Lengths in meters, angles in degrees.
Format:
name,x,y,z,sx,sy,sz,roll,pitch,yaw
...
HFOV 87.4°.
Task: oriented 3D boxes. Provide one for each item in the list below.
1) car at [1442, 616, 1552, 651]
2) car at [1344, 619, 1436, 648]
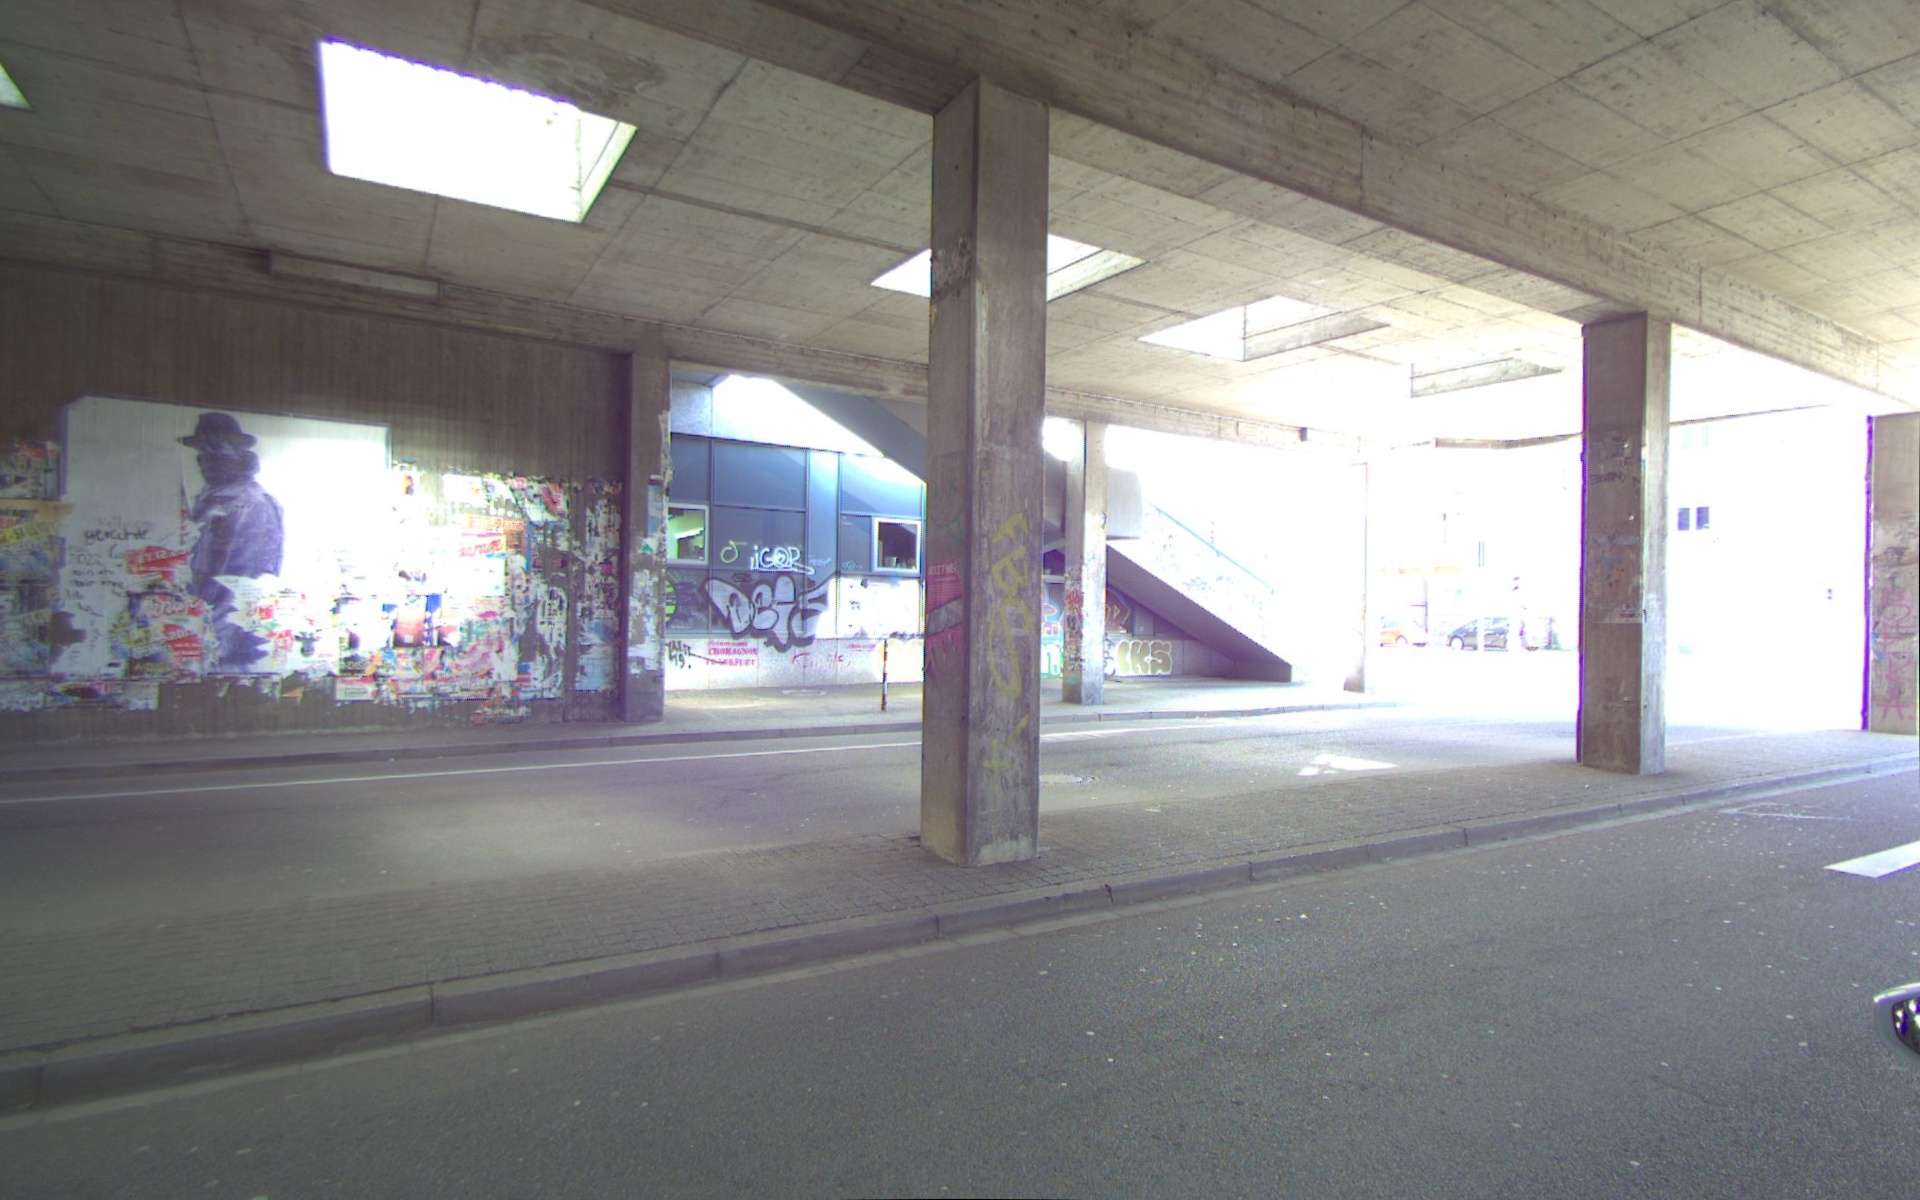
name,x,y,z,sx,sy,sz,roll,pitch,yaw
car,25.410,1.547,47.659,2.240,1.571,4.111,1,-1,-29
car,22.488,1.726,52.670,2.163,1.392,3.971,1,-1,-28
